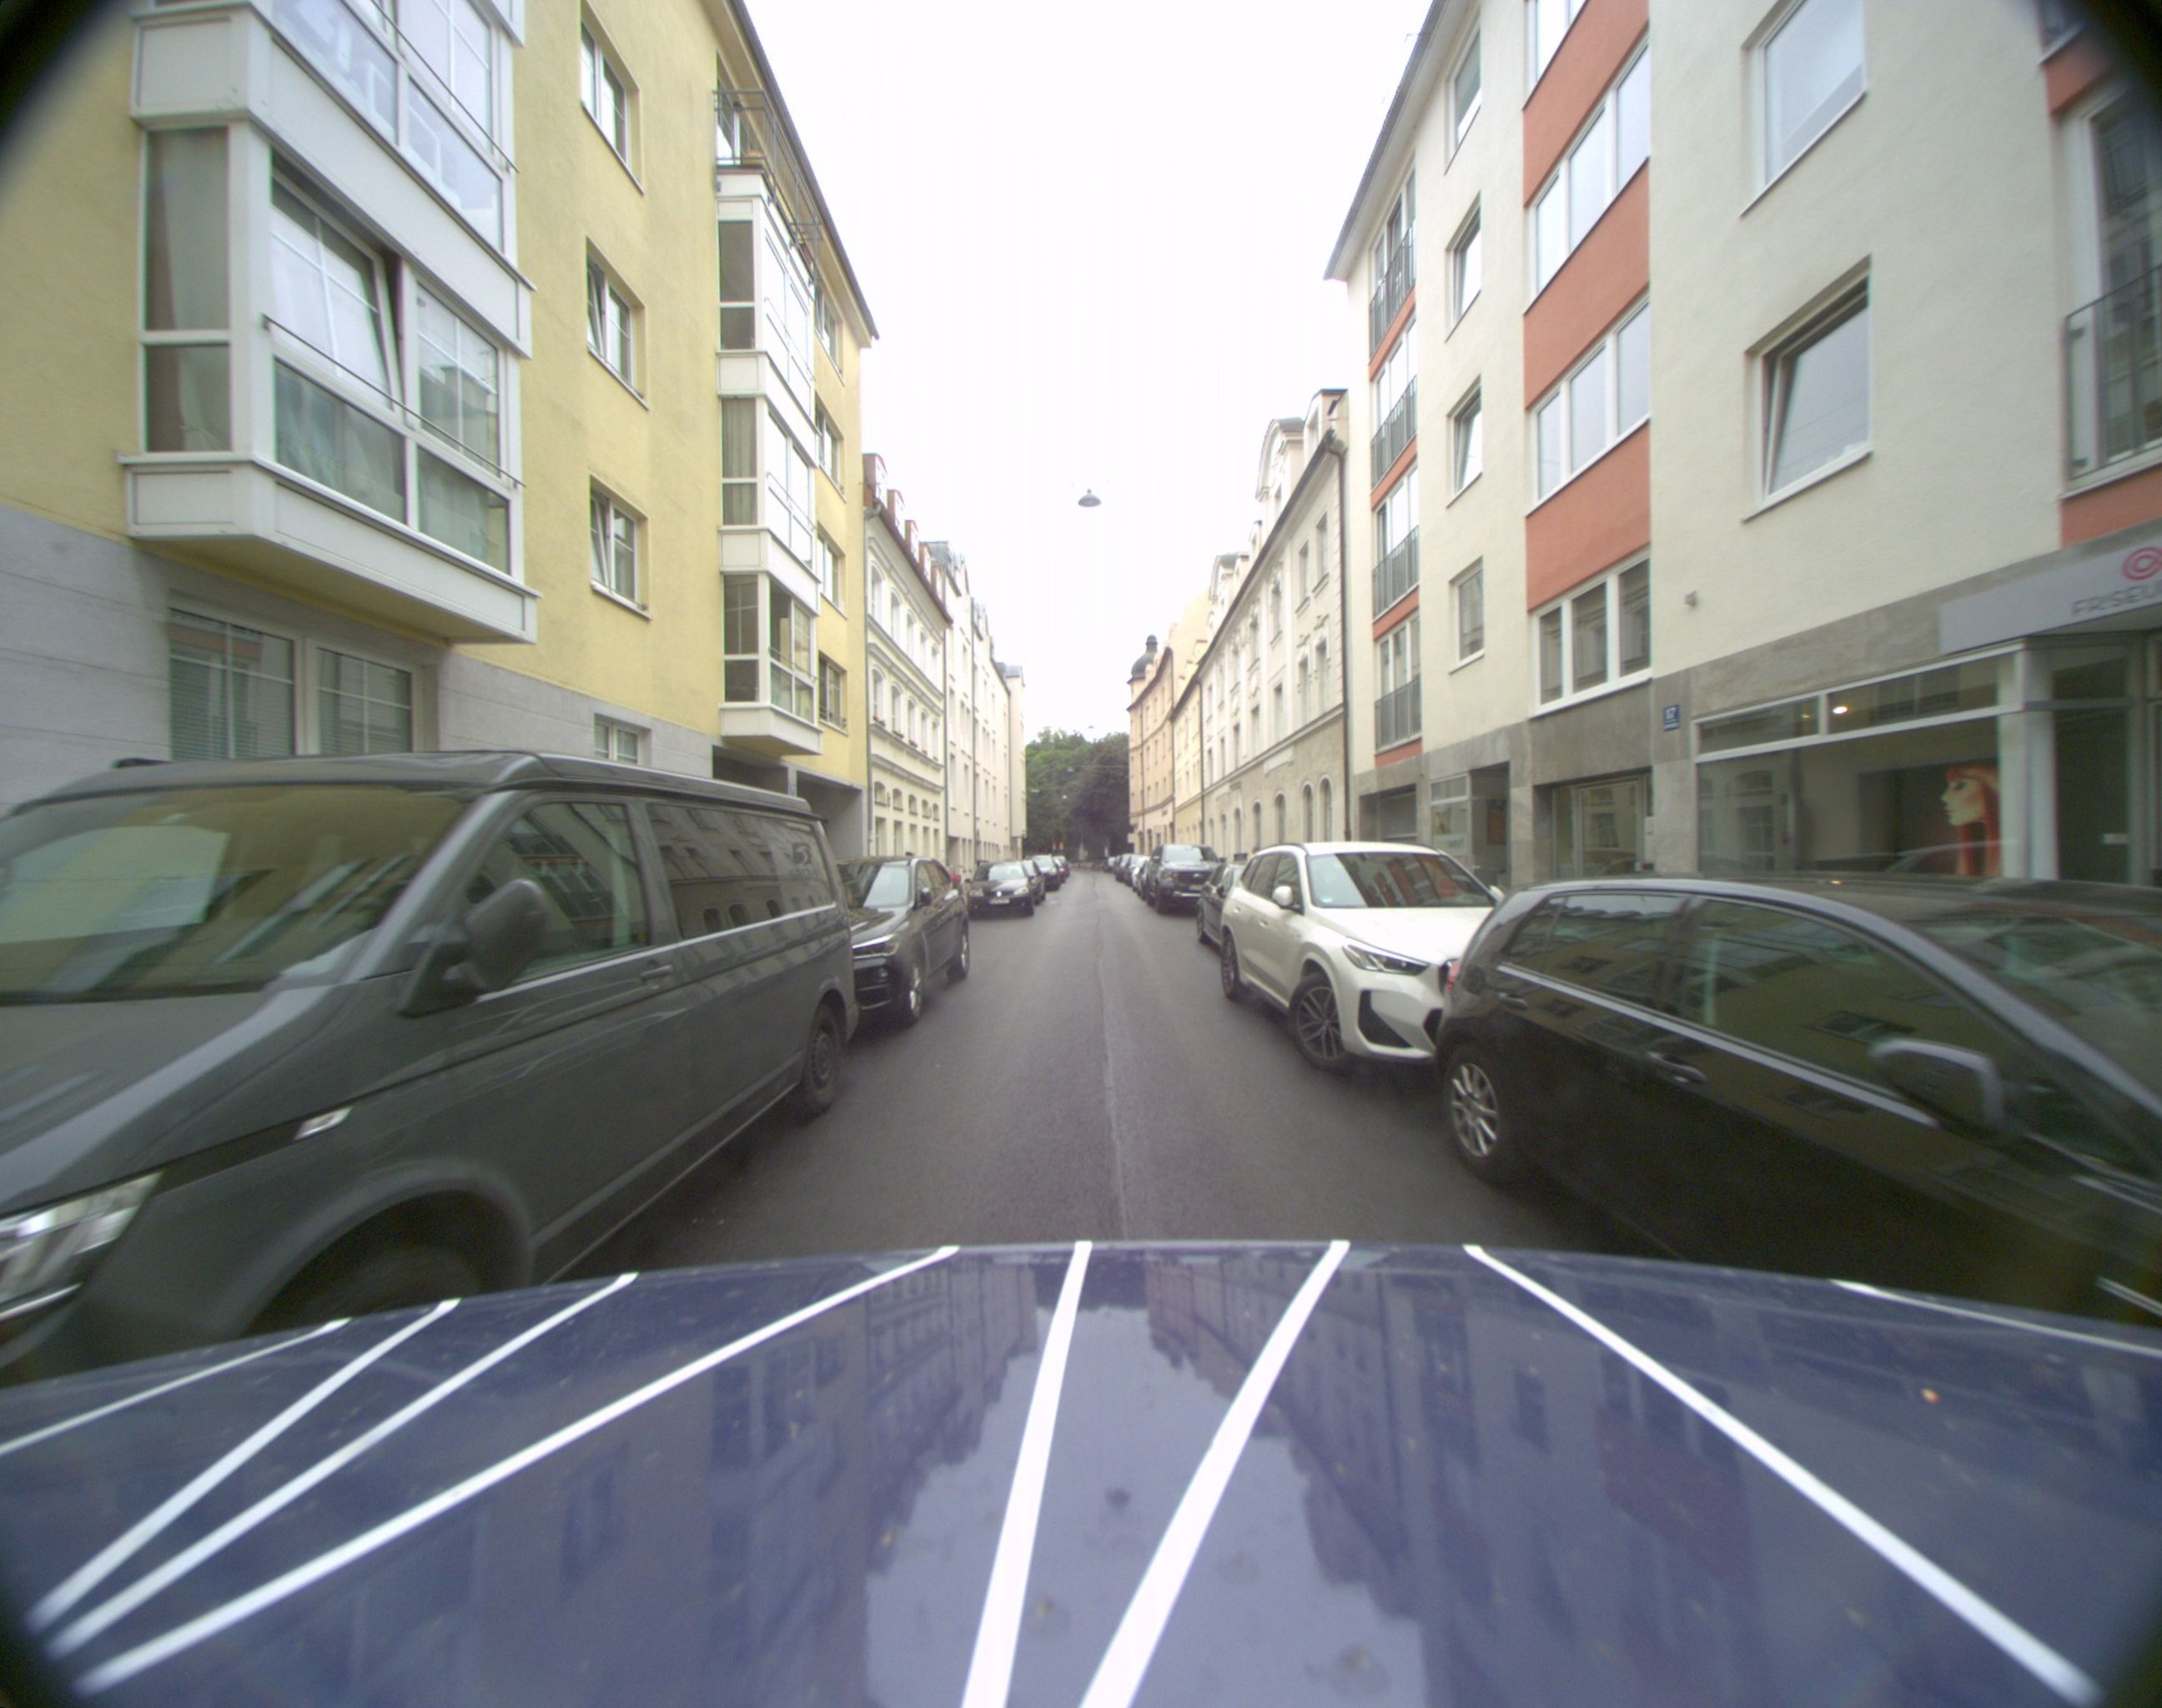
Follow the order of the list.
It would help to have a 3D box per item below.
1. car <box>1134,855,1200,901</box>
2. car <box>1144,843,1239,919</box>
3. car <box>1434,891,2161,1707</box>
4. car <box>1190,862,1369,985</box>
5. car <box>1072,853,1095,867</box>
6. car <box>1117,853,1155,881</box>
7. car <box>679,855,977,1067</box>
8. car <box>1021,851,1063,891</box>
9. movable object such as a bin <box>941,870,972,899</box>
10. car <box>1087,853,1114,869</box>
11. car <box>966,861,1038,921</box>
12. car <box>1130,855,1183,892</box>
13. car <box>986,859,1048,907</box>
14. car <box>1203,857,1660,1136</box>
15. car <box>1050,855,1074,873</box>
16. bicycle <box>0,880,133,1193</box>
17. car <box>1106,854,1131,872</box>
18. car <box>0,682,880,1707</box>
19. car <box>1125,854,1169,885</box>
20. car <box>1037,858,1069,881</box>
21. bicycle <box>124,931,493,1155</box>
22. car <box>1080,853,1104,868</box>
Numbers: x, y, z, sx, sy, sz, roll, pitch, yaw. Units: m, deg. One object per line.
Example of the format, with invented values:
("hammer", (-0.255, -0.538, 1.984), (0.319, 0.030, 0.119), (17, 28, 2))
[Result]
("car", (2.974, 0.802, 26.918), (1.951, 1.470, 3.716), (1, 0, 1))
("car", (2.928, 0.656, 21.175), (1.951, 1.850, 4.908), (1, 0, 1))
("car", (2.545, 0.926, 1.799), (1.632, 1.466, 3.841), (1, 0, 0))
("car", (2.747, 0.879, 11.408), (1.632, 1.466, 4.029), (1, 0, 0))
("car", (0.297, 0.634, 83.199), (1.800, 1.501, 3.996), (1, 0, -10))
("car", (3.115, 0.721, 44.088), (1.951, 1.470, 3.979), (1, 0, 1))
("car", (-2.403, 0.903, 8.470), (1.837, 1.676, 4.228), (-2, 0, 0))
("car", (-1.791, 0.758, 36.211), (1.739, 1.743, 3.686), (-2, 0, 0))
("movable object such as a bin", (-4.509, 1.119, 27.620), (0.740, 0.926, 1.650), (-7, -2, 1))
("car", (1.877, 0.701, 74.898), (1.800, 1.501, 3.996), (1, 0, -10))
("car", (-2.159, 0.953, 21.440), (1.750, 1.433, 4.227), (-2, 0, -4))
("car", (3.206, 0.808, 32.980), (1.951, 1.470, 3.716), (1, 0, 1))
("car", (-2.109, 0.943, 26.019), (1.739, 1.433, 3.686), (-2, 0, 0))
("car", (2.398, 0.850, 6.577), (1.786, 1.596, 4.307), (1, 0, -3))
("car", (-1.461, 0.769, 58.841), (1.739, 1.297, 3.686), (-2, 0, 0))
("bicycle", (-5.299, 0.843, 3.120), (0.433, 1.462, 1.869), (-2, -2, 1))
("car", (3.213, 0.777, 65.296), (1.951, 1.470, 3.979), (1, 0, 1))
("car", (-2.517, 0.743, 3.234), (1.877, 2.002, 5.106), (-2, 1, 0))
("car", (3.287, 0.737, 38.382), (1.951, 1.470, 3.716), (1, 0, 1))
("car", (-1.673, 0.922, 46.382), (1.739, 1.297, 3.686), (-2, 0, 0))
("bicycle", (-5.167, 1.178, 5.304), (0.636, 1.154, 1.869), (-2, -2, 1))
("car", (1.122, 0.648, 79.096), (1.800, 1.501, 3.996), (1, 0, -10))
